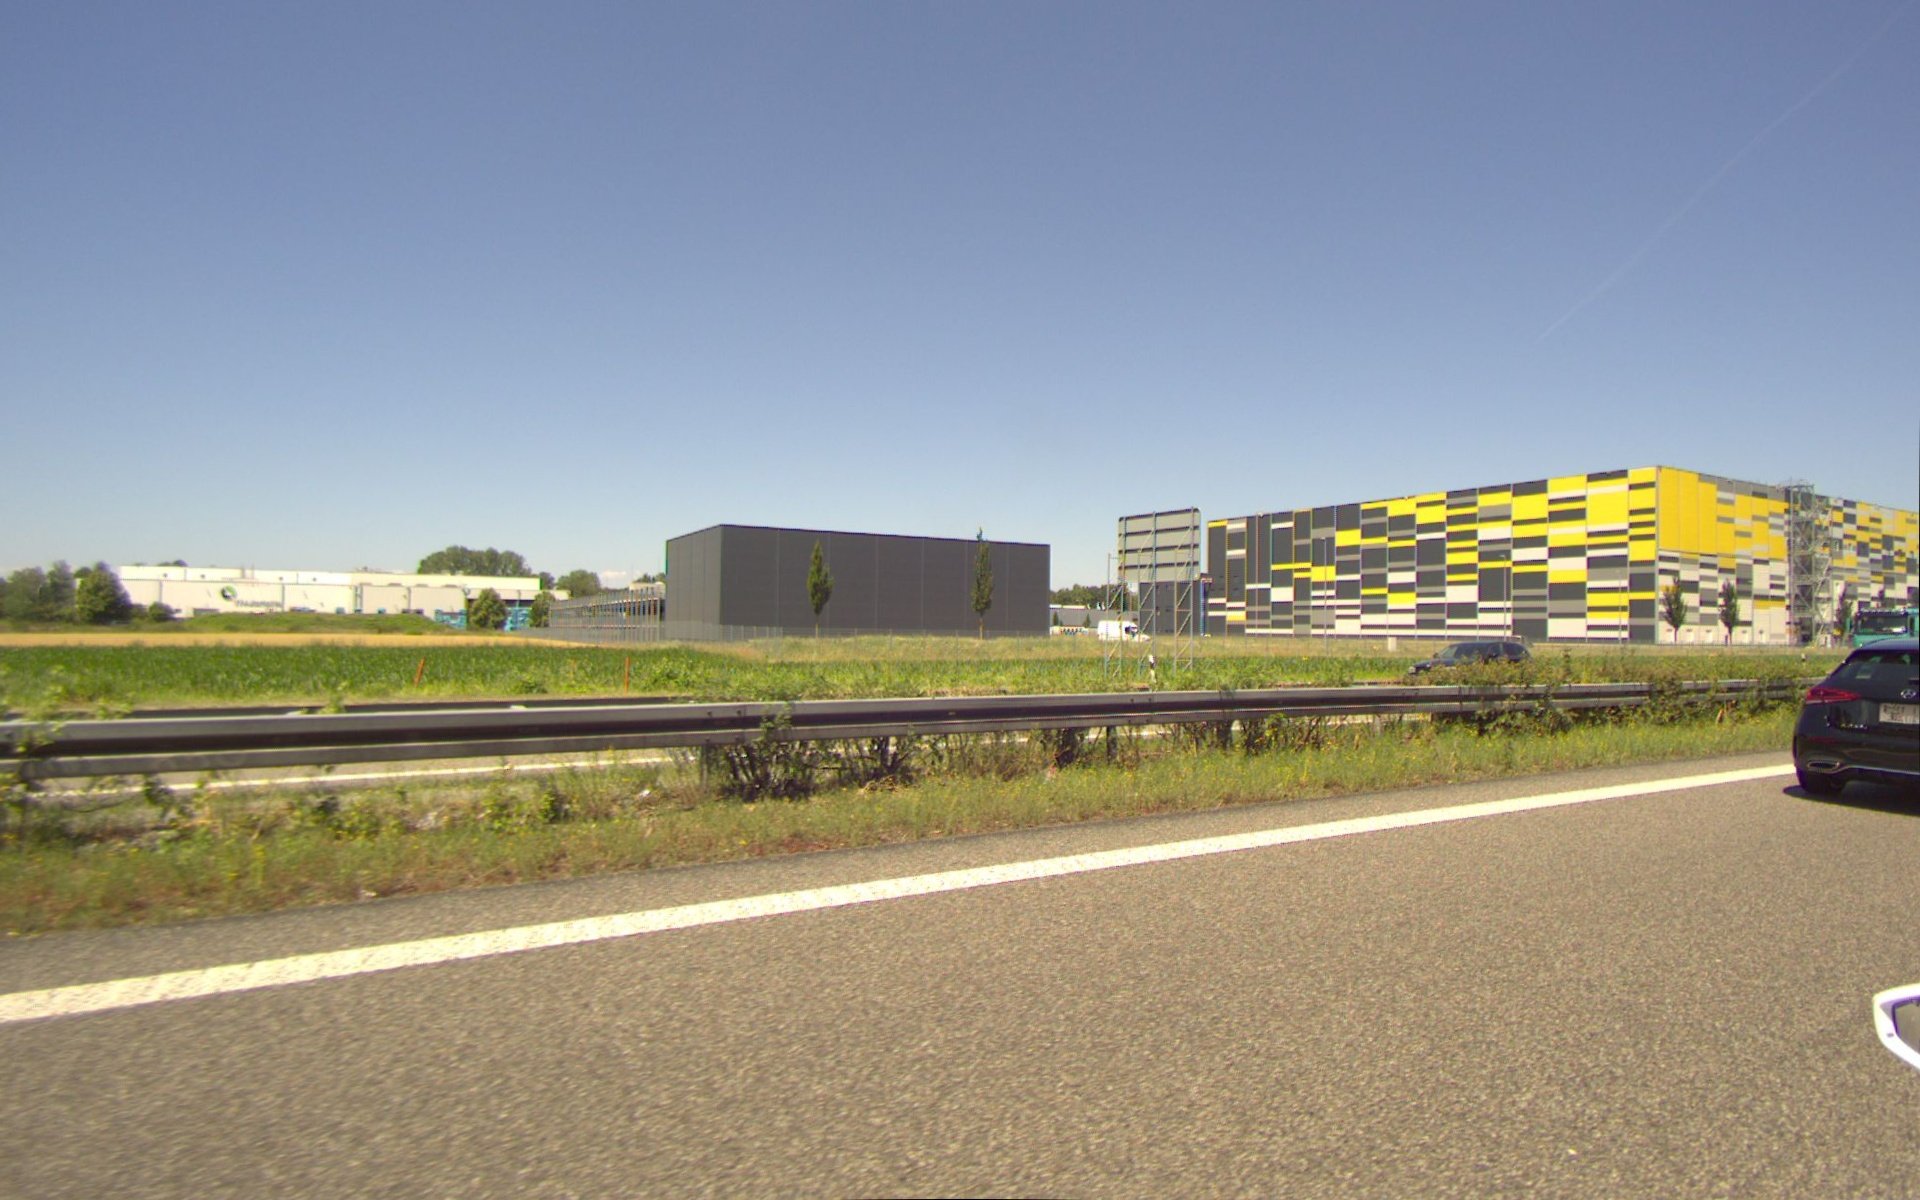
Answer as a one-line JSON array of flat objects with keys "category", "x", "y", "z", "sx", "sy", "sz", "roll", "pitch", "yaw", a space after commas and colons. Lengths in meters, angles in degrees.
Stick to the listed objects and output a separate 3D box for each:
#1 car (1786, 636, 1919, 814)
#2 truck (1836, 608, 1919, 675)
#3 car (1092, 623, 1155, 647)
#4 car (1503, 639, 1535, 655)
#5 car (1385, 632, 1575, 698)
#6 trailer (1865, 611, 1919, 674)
[{"category": "car", "x": 9.588, "y": 1.103, "z": 9.295, "sx": 4.006, "sy": 1.430, "sz": 1.783, "roll": 2, "pitch": -1, "yaw": -31}, {"category": "truck", "x": 48.425, "y": 2.190, "z": 52.217, "sx": 5.770, "sy": 3.293, "sz": 2.685, "roll": 2, "pitch": -2, "yaw": -30}, {"category": "car", "x": 15.435, "y": 3.276, "z": 94.848, "sx": 5.506, "sy": 2.206, "sz": 2.107, "roll": 0, "pitch": -2, "yaw": 28}, {"category": "car", "x": 66.405, "y": 5.580, "z": 119.292, "sx": 4.067, "sy": 1.750, "sz": 1.675, "roll": 2, "pitch": -2, "yaw": -32}, {"category": "car", "x": 14.339, "y": 1.736, "z": 27.620, "sx": 5.597, "sy": 1.661, "sz": 1.984, "roll": 2, "pitch": -2, "yaw": -30}, {"category": "trailer", "x": 53.118, "y": 2.382, "z": 55.025, "sx": 9.151, "sy": 3.280, "sz": 2.662, "roll": 2, "pitch": -2, "yaw": -31}]
